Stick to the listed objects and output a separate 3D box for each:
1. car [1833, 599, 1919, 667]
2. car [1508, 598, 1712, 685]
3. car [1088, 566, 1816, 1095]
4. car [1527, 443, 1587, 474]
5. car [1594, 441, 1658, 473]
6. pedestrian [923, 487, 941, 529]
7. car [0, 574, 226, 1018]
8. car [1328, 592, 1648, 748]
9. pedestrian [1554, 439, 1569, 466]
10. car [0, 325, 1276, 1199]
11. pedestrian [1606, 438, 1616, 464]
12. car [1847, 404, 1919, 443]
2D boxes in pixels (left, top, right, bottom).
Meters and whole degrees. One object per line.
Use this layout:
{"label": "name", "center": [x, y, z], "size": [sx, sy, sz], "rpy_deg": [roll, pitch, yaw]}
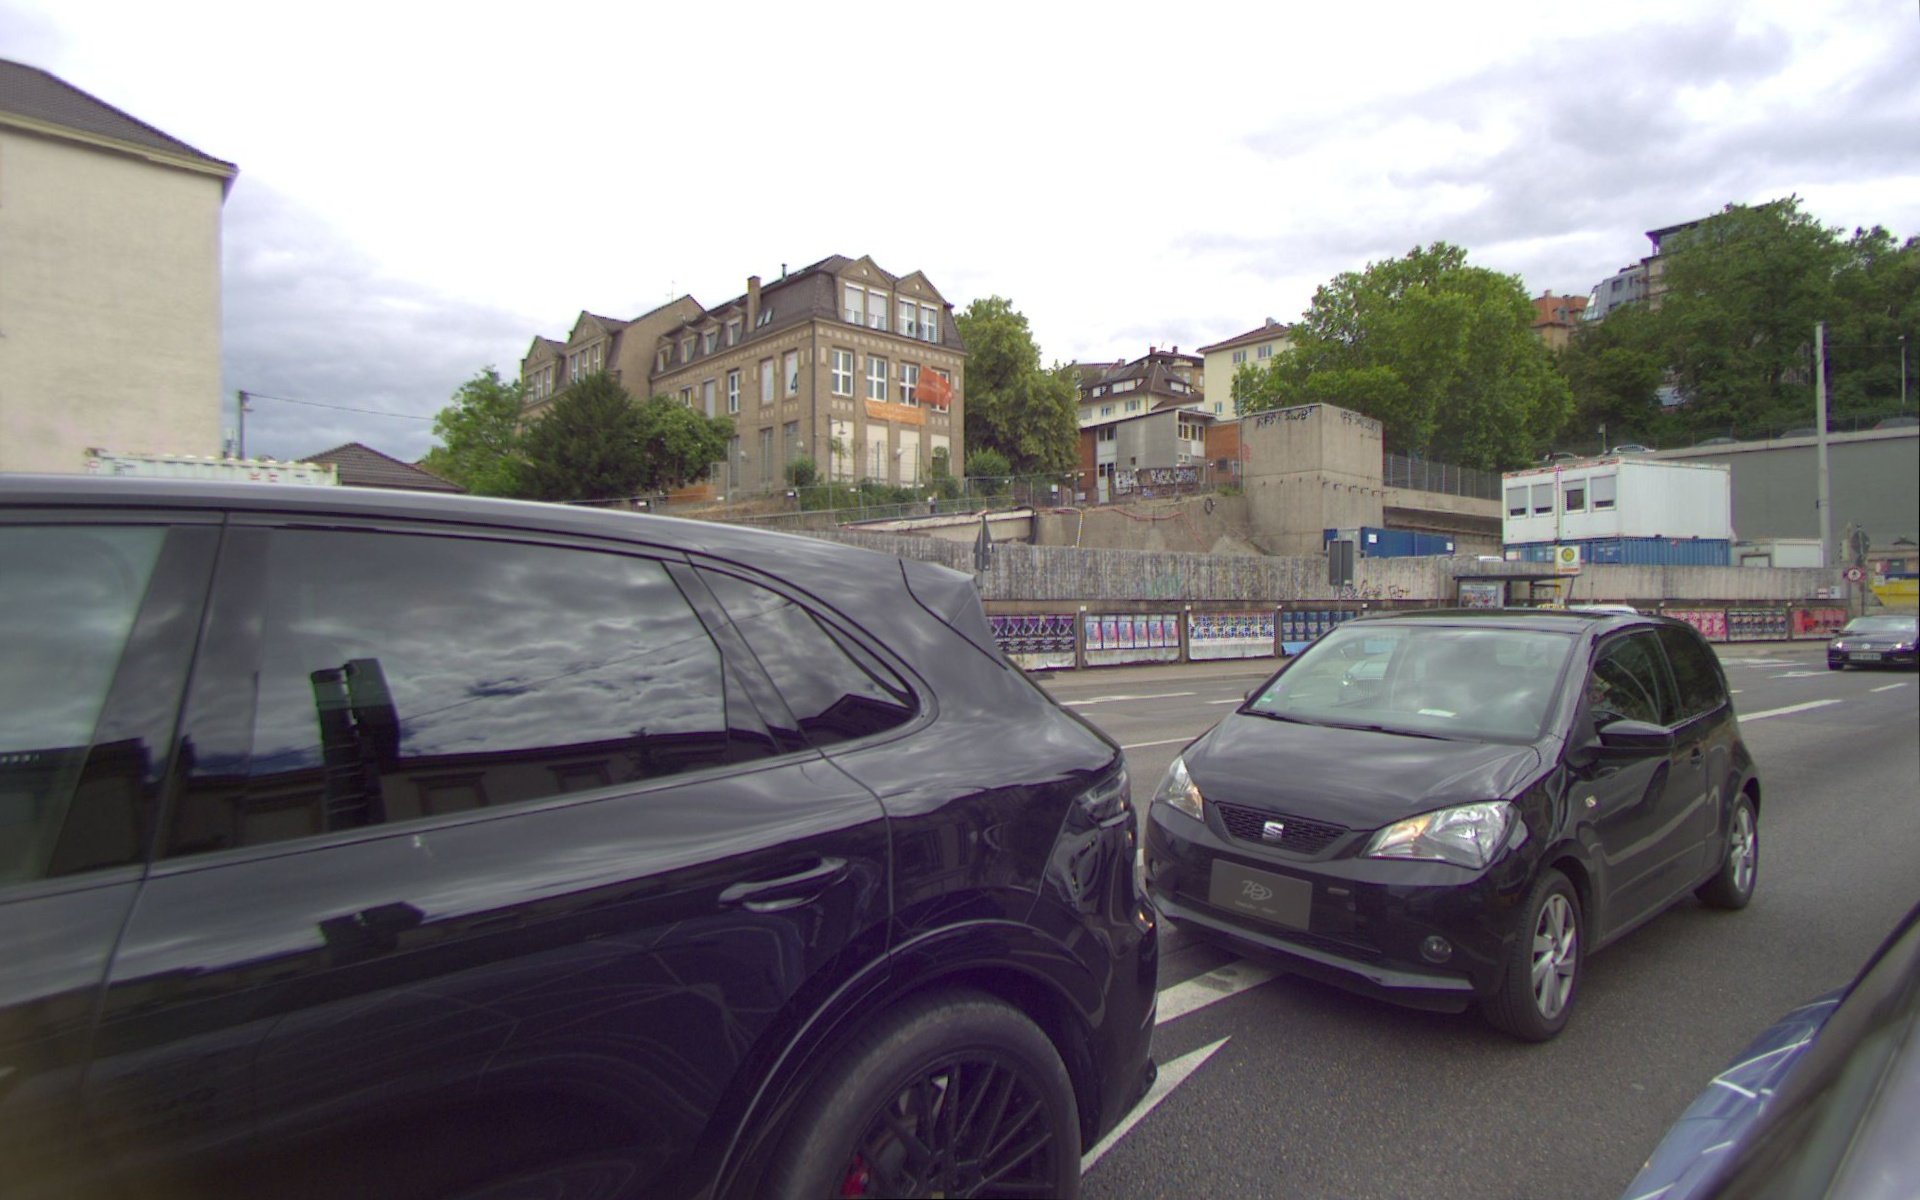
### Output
{"label": "car", "center": [23.917, 0.765, 25.645], "size": [4.465, 1.579, 1.706], "rpy_deg": [0, 0, -35]}
{"label": "car", "center": [13.296, 0.766, 20.633], "size": [4.461, 1.579, 1.707], "rpy_deg": [0, 0, -31]}
{"label": "car", "center": [2.525, 0.666, 4.781], "size": [3.812, 1.515, 1.667], "rpy_deg": [0, -1, -40]}
{"label": "car", "center": [50.257, -11.885, 85.220], "size": [3.988, 2.039, 1.968], "rpy_deg": [0, 1, 45]}
{"label": "car", "center": [53.572, -11.478, 81.430], "size": [3.988, 2.039, 1.968], "rpy_deg": [0, 1, 45]}
{"label": "pedestrian", "center": [-1.398, -4.624, 50.750], "size": [0.656, 2.039, 0.644], "rpy_deg": [0, 0, -45]}
{"label": "car", "center": [-4.886, 0.698, 3.414], "size": [3.812, 1.563, 1.667], "rpy_deg": [0, -1, -40]}
{"label": "car", "center": [6.639, 0.710, 12.509], "size": [4.570, 1.591, 1.826], "rpy_deg": [0, 0, -39]}
{"label": "pedestrian", "center": [48.950, -12.016, 82.385], "size": [0.891, 2.039, 0.849], "rpy_deg": [0, -1, -45]}
{"label": "car", "center": [-1.625, 0.589, 1.696], "size": [4.552, 1.707, 1.959], "rpy_deg": [0, -1, -40]}
{"label": "pedestrian", "center": [54.420, -12.419, 84.580], "size": [0.568, 2.039, 0.580], "rpy_deg": [0, 0, -44]}
{"label": "car", "center": [64.160, -12.163, 70.038], "size": [1.966, 2.039, 3.991], "rpy_deg": [0, 1, -43]}
